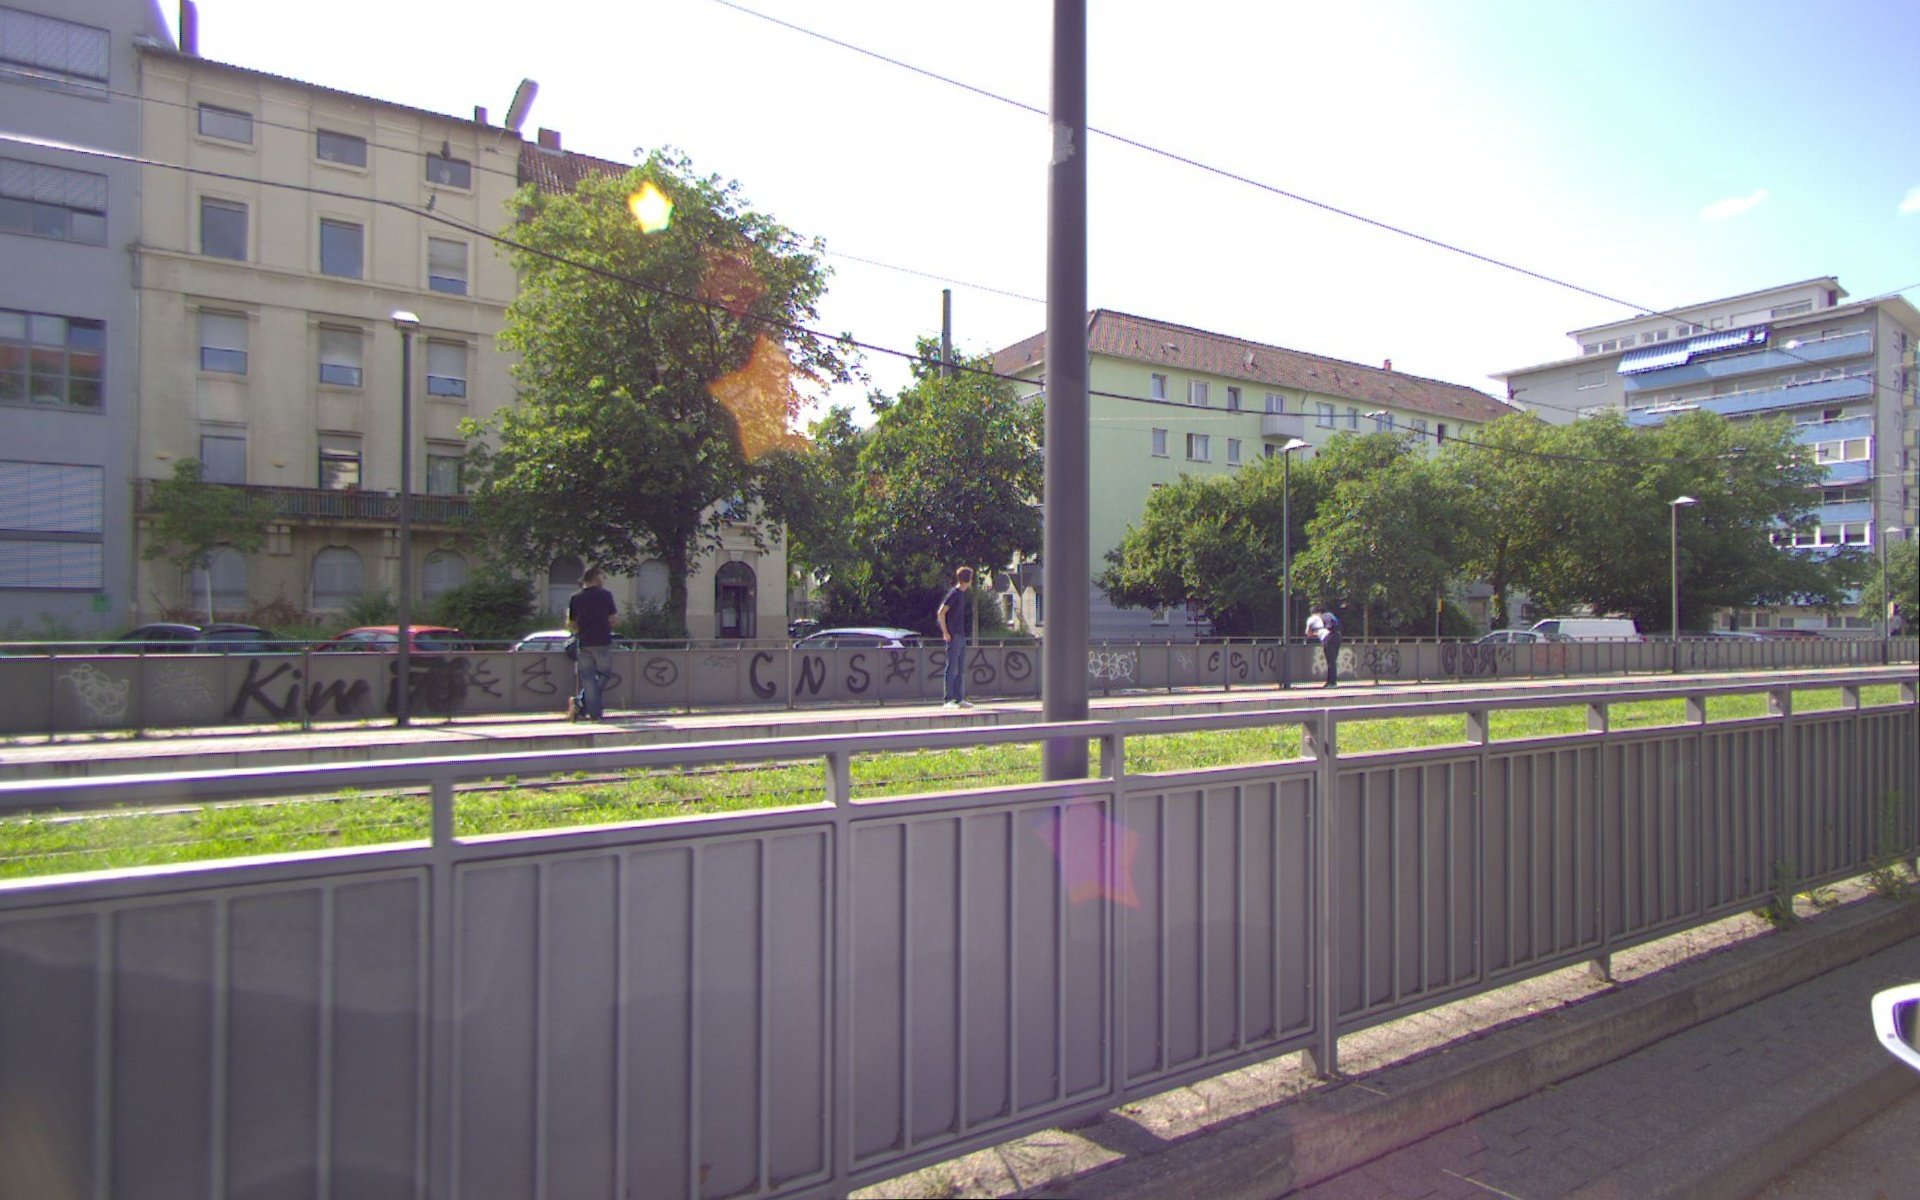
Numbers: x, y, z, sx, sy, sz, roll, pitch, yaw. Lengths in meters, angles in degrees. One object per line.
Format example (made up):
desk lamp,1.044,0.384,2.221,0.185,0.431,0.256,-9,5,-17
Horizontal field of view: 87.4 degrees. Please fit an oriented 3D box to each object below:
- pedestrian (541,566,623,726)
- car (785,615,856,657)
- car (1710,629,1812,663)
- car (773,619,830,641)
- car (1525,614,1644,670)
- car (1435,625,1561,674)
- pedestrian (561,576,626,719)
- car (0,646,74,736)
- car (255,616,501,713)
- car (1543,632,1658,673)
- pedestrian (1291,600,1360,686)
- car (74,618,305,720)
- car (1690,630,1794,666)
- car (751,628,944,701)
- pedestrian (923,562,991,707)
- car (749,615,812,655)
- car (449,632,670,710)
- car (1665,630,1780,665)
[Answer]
pedestrian,-4.324,0.518,11.521,0.612,1.777,0.609,1,-1,10
car,-6.223,1.631,44.465,1.802,1.756,3.969,2,-3,-30
car,38.562,2.191,48.485,3.601,1.600,1.646,-1,-1,29
car,-10.344,1.965,65.964,1.837,1.383,3.998,-1,-2,23
car,24.582,1.627,39.713,3.880,2.097,2.047,-1,-1,29
car,19.672,1.786,36.927,3.923,1.662,1.826,0,0,23
pedestrian,-4.504,0.575,12.341,0.618,1.696,0.604,2,-2,-30
car,-16.190,1.416,16.162,3.929,1.165,1.789,2,1,31
car,-10.931,1.161,18.902,4.055,1.661,1.835,0,-2,20
car,26.428,2.140,41.581,3.879,1.600,1.717,-1,-1,28
pedestrian,6.982,0.815,19.204,0.790,1.599,0.983,2,-2,-33
car,-13.361,1.107,17.388,3.925,1.589,1.608,0,-1,26
car,36.546,2.237,47.068,3.601,1.600,1.646,-1,-1,29
car,-2.623,1.464,23.623,4.071,1.585,1.927,0,-2,19
pedestrian,-0.044,0.493,13.743,0.631,1.916,0.747,3,-4,-28
car,-8.792,1.743,49.060,1.802,1.855,3.969,2,-3,-30
car,-8.107,1.381,20.380,3.944,1.410,1.816,0,0,19
car,34.464,2.126,45.528,3.957,1.534,1.606,-1,-2,30
